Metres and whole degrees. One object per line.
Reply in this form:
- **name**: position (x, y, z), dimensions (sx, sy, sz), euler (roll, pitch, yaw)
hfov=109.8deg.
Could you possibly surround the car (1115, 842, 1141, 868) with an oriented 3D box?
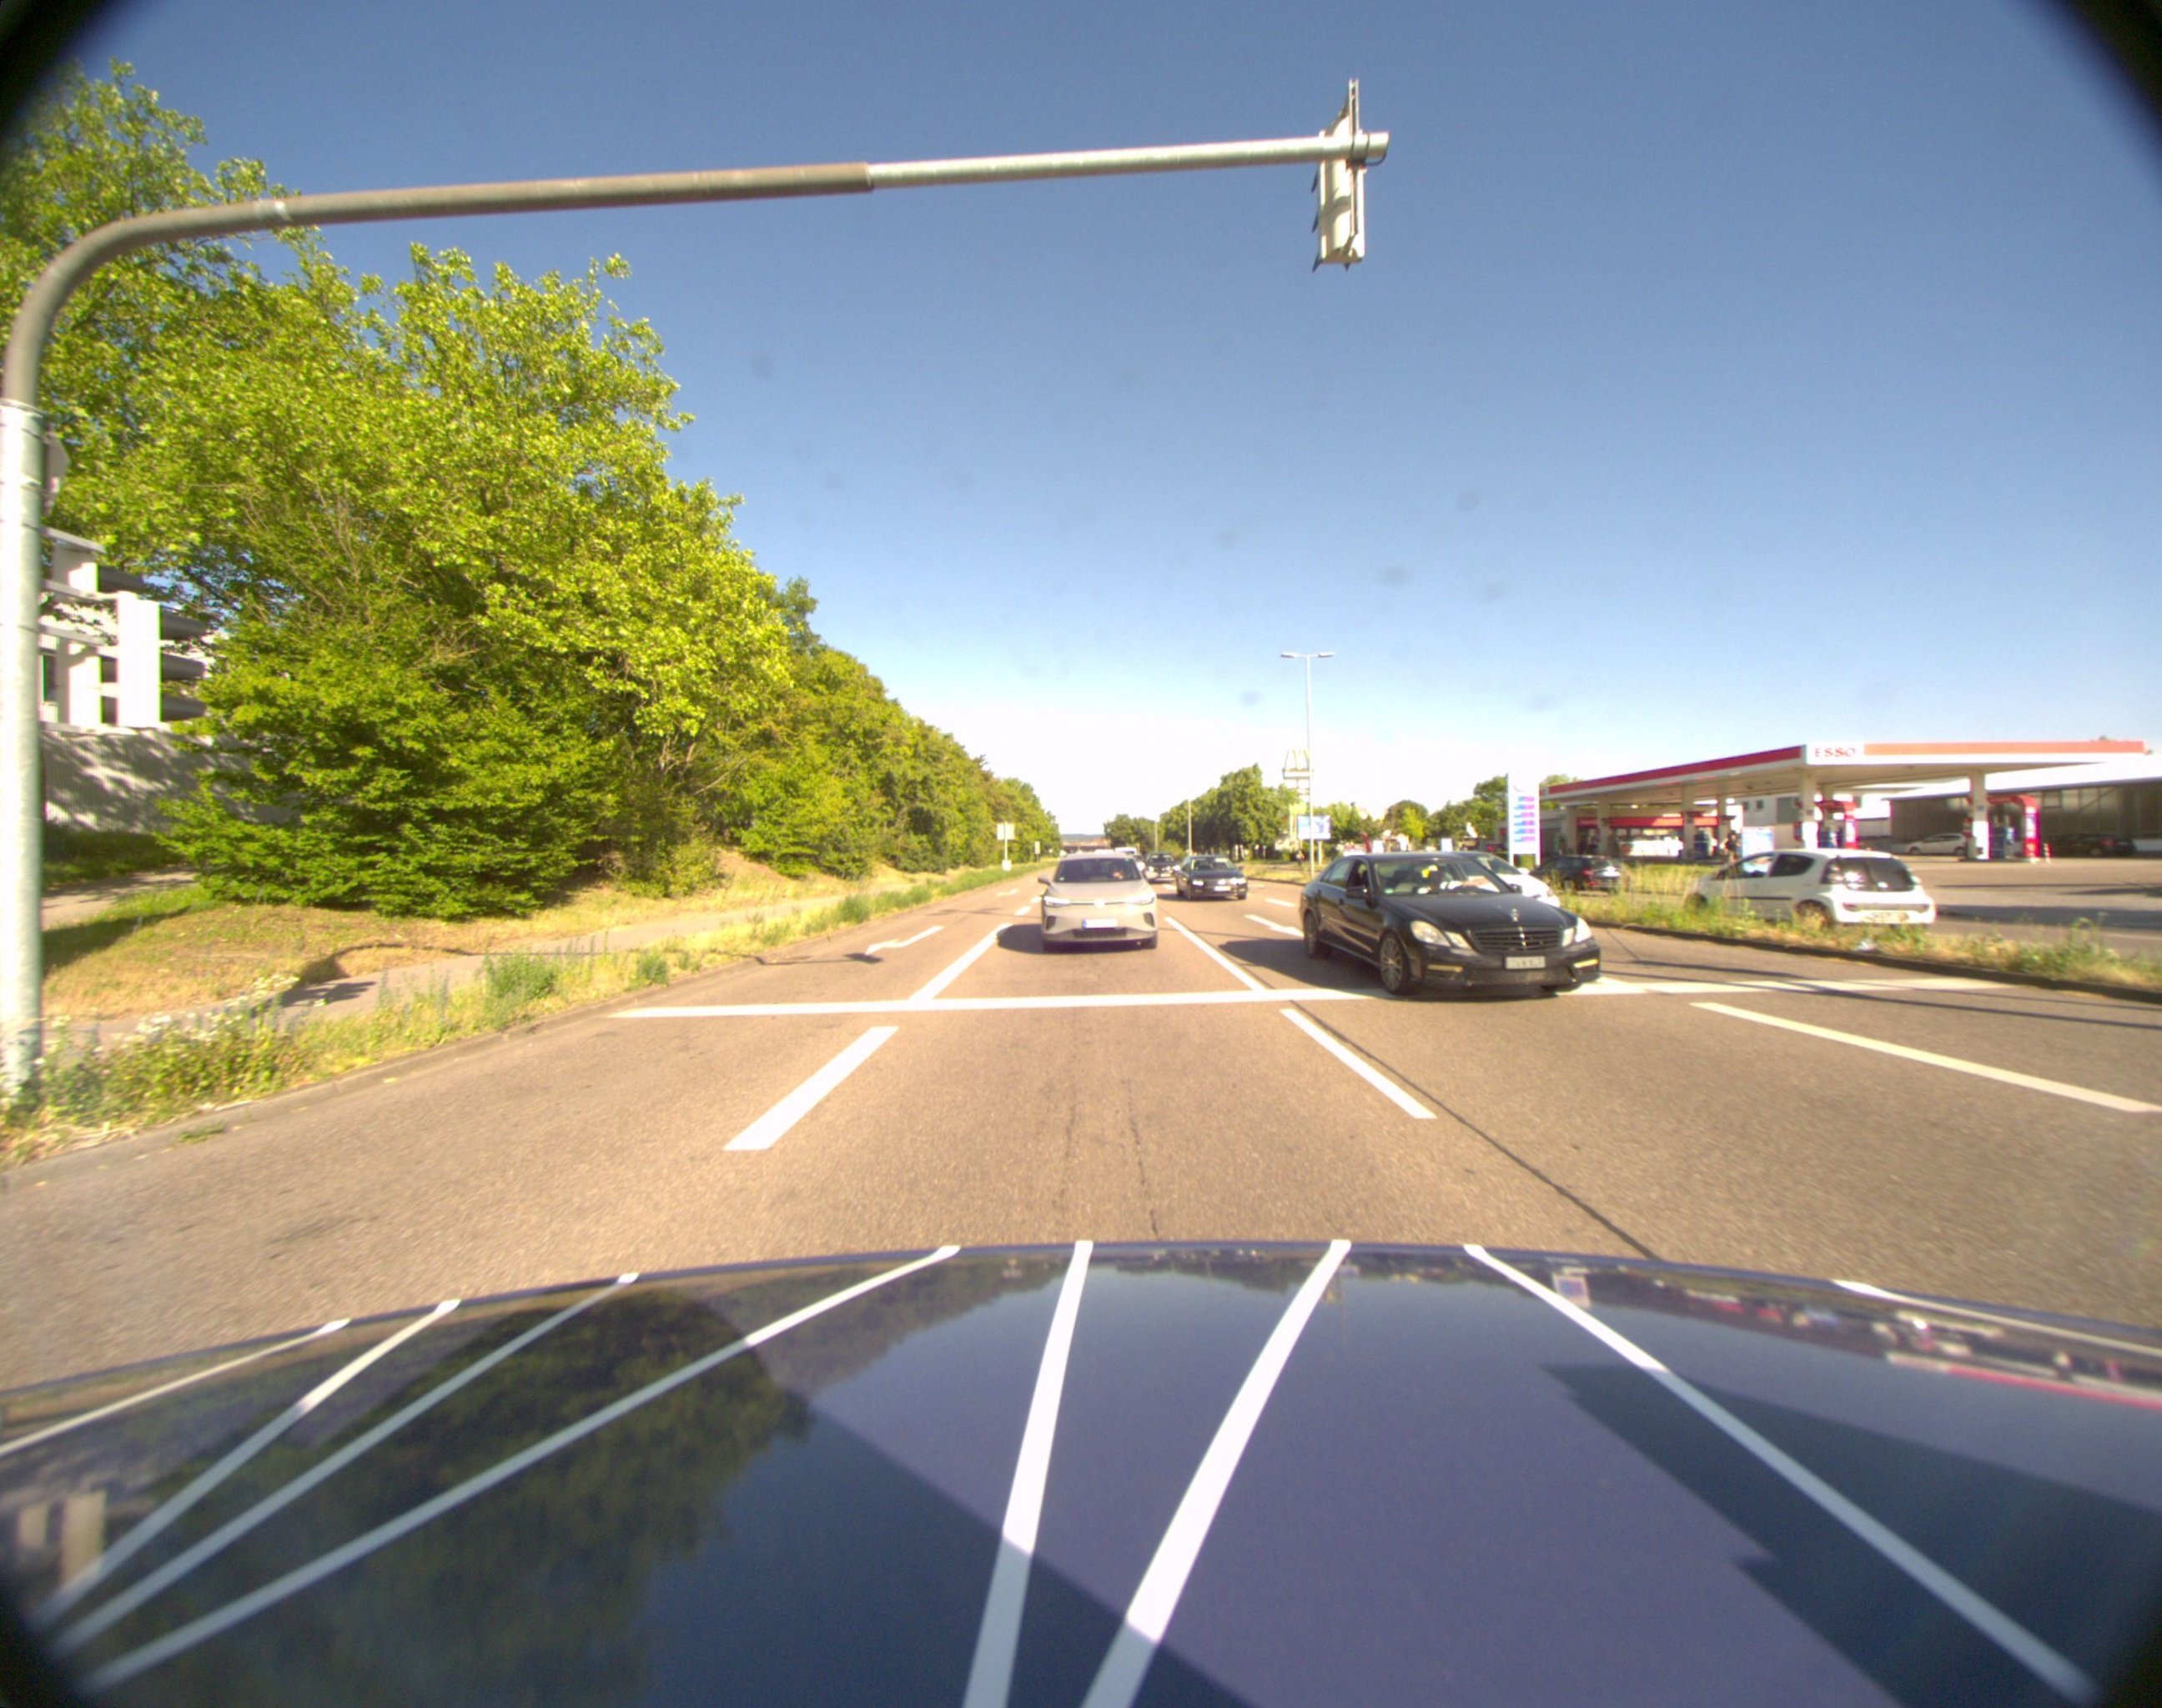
- **car**: position (4.277, 0.056, 69.832), dimensions (2.089, 2.229, 4.000), euler (-2, 1, 1)

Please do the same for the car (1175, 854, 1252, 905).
- **car**: position (4.254, 0.771, 25.097), dimensions (1.848, 1.445, 4.265), euler (-2, 0, 1)

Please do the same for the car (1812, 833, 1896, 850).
- **car**: position (56.792, -0.890, 55.920), dimensions (1.900, 1.220, 4.119), euler (0, 1, -1)

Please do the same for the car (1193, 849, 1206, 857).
- **car**: position (21.338, -0.121, 136.982), dimensions (1.699, 1.424, 4.458), euler (1, 1, 1)

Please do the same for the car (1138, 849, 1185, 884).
- **car**: position (4.216, 0.631, 40.420), dimensions (1.998, 1.674, 4.695), euler (-2, 1, 1)

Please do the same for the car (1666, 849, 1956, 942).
- **car**: position (12.781, 0.637, 13.672), dimensions (1.699, 1.424, 3.664), euler (1, 1, 1)

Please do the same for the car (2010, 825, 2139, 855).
- **car**: position (56.407, -0.780, 43.253), dimensions (1.900, 1.582, 4.119), euler (0, 1, -1)

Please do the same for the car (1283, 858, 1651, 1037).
- **car**: position (4.017, 0.832, 9.084), dimensions (1.964, 1.474, 4.918), euler (-2, 0, 1)

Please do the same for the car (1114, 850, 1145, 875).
- **car**: position (3.614, 0.599, 57.262), dimensions (1.998, 1.779, 4.270), euler (-2, 1, 1)

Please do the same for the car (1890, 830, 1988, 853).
- **car**: position (56.347, -0.777, 50.009), dimensions (1.772, 1.432, 4.119), euler (0, 0, -1)

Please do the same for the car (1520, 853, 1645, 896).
- **car**: position (18.298, 0.704, 28.015), dimensions (1.699, 1.424, 4.458), euler (1, 1, 1)

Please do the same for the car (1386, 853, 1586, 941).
- **car**: position (7.692, 0.729, 14.925), dimensions (1.790, 1.447, 4.116), euler (-1, 0, 1)

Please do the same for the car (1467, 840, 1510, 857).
- **car**: position (37.943, -0.510, 70.893), dimensions (1.762, 1.604, 4.119), euler (0, 1, -1)

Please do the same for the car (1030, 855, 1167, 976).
- **car**: position (0.282, 0.856, 12.666), dimensions (1.848, 1.615, 4.265), euler (-2, 0, 1)
